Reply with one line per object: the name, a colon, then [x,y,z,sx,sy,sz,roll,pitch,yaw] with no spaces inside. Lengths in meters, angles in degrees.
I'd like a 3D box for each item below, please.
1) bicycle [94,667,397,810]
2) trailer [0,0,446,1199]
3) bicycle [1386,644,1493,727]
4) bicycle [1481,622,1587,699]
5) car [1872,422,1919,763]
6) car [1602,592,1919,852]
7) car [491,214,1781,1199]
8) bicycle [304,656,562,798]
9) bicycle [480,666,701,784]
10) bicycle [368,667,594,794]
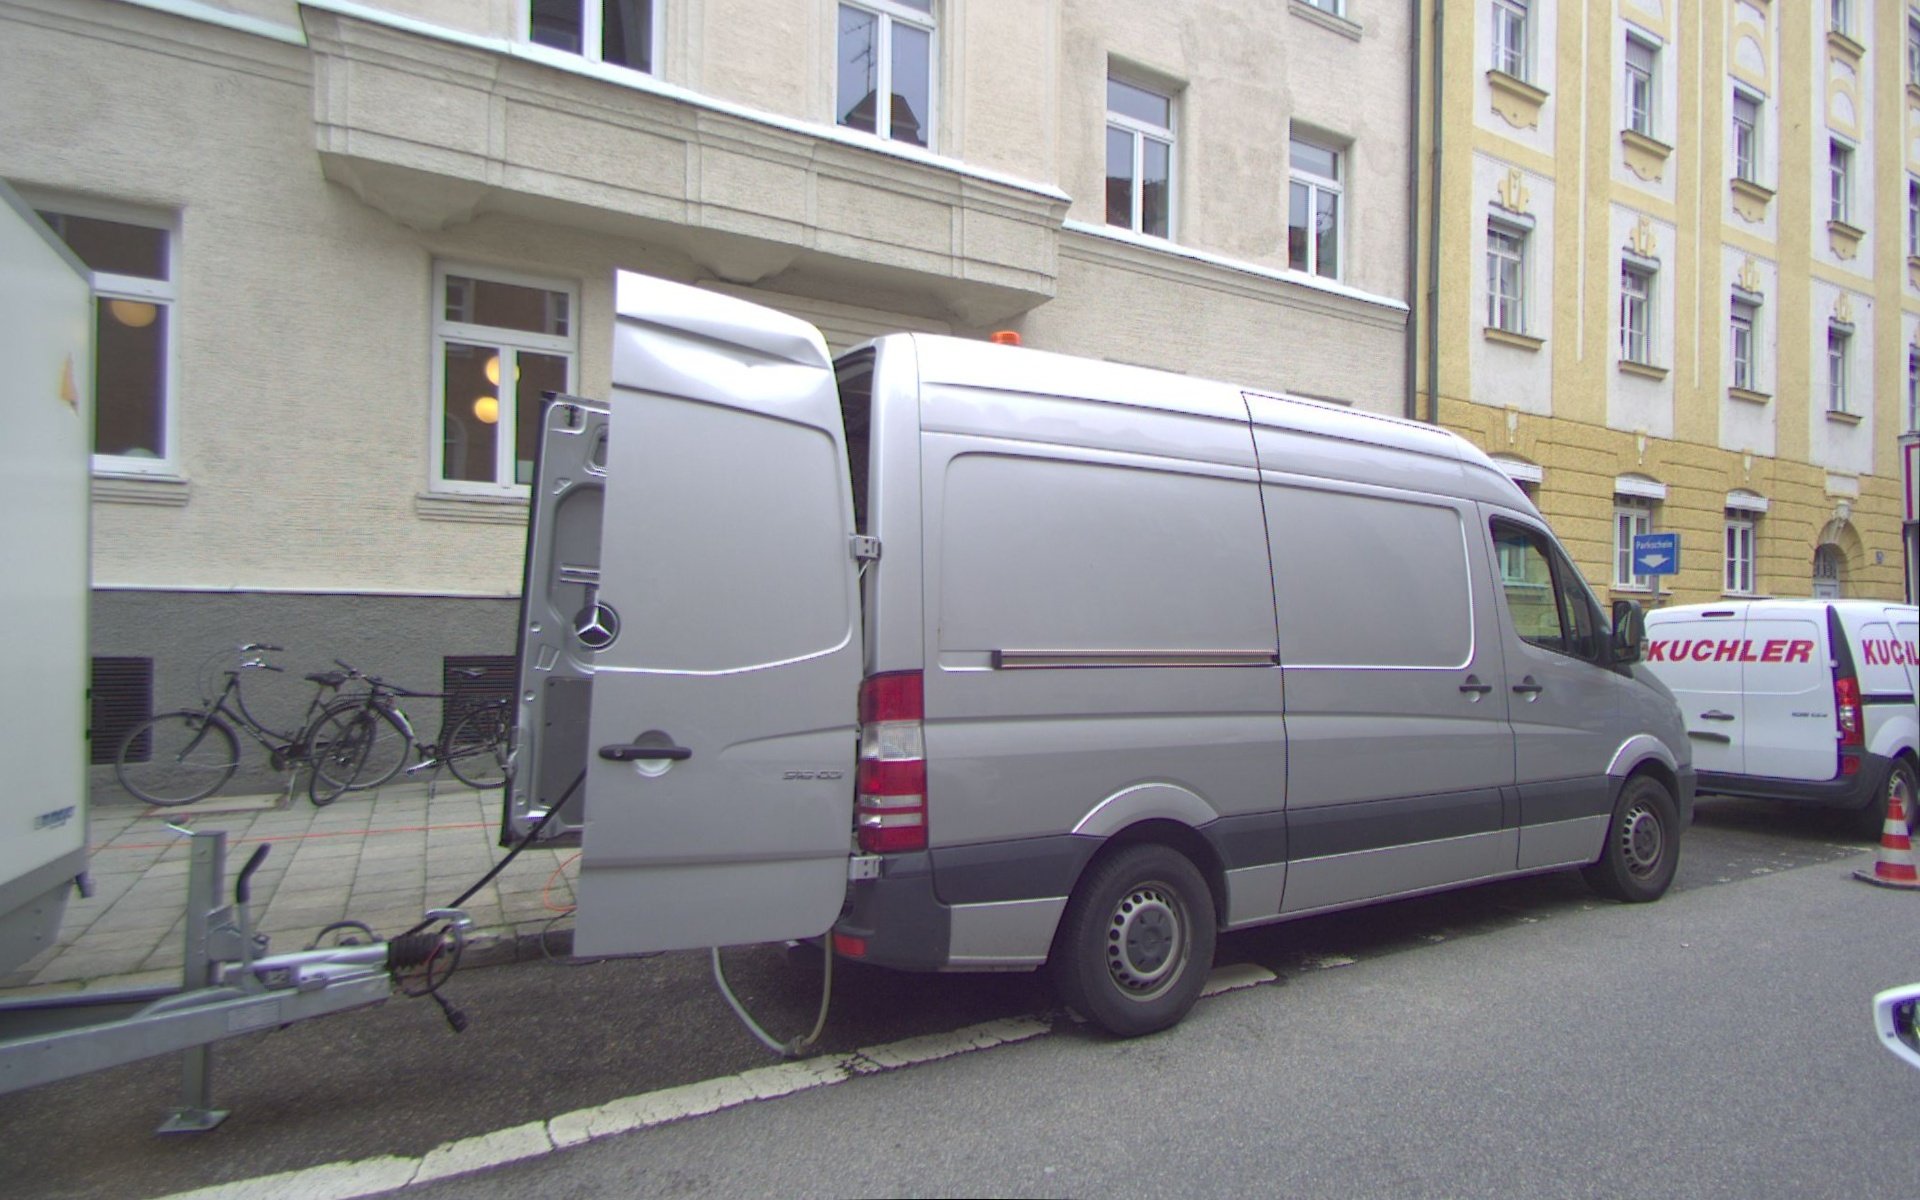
bicycle: [-5.226,0.991,7.466,1.779,0.935,0.394,1,1,-26]
trailer: [-5.093,0.005,1.628,7.500,3.007,2.795,0,-4,-27]
bicycle: [6.876,1.205,14.376,1.842,1.119,0.399,2,-1,-30]
bicycle: [8.828,0.915,15.427,1.745,1.119,0.604,2,-1,-30]
car: [15.087,0.003,12.628,8.617,3.868,2.800,2,-1,-29]
car: [7.780,0.931,8.782,4.272,1.802,1.756,1,-3,-28]
car: [1.367,0.395,5.245,6.793,2.620,2.048,1,-5,-29]
bicycle: [-4.169,0.979,8.068,1.779,1.019,0.429,1,1,-26]
bicycle: [-3.164,1.054,8.687,1.732,0.927,0.414,2,2,-24]
bicycle: [-3.790,1.033,8.036,1.563,0.927,0.394,2,2,-17]
